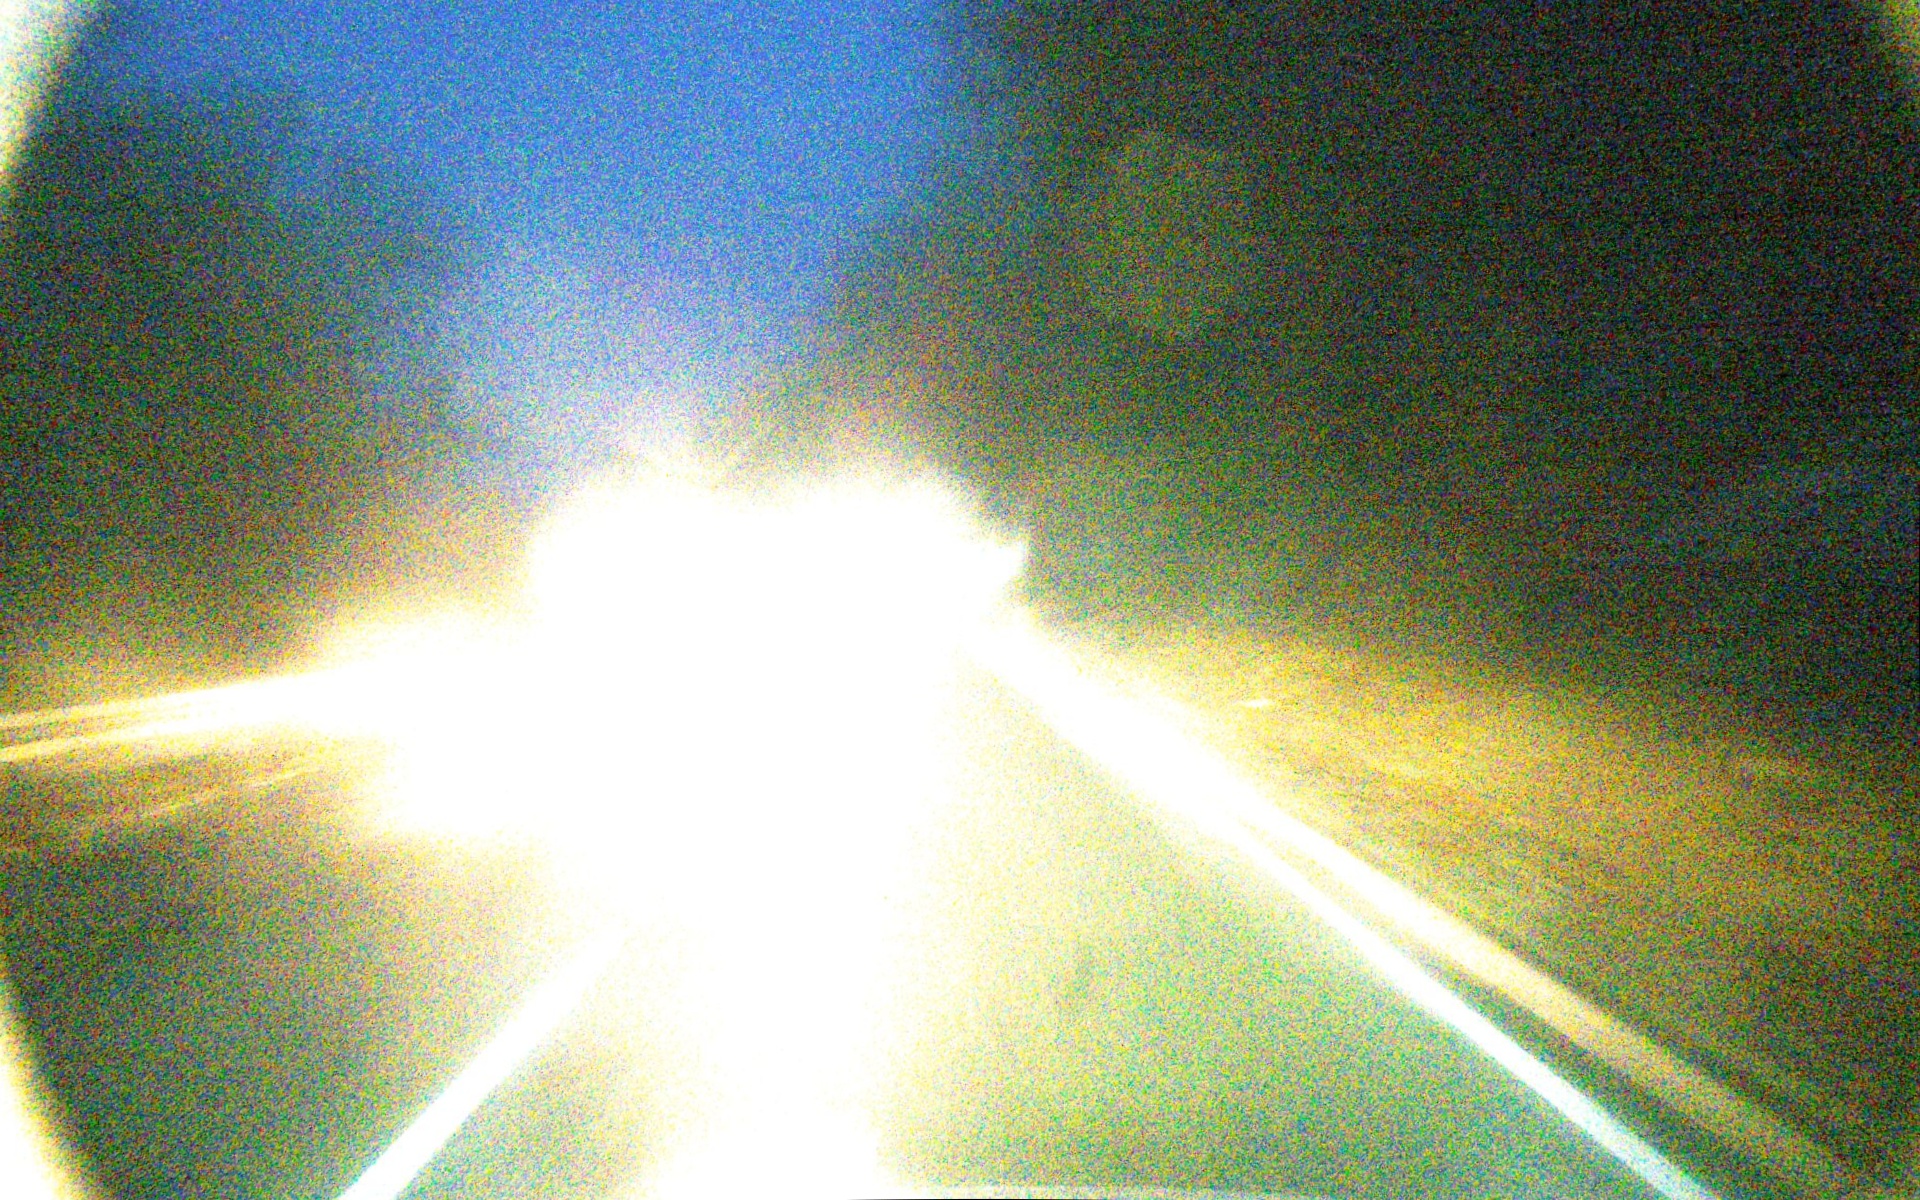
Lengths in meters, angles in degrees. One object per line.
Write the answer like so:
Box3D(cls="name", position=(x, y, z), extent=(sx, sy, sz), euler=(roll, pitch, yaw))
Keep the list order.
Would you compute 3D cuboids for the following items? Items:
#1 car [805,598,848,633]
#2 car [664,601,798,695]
Box3D(cls="car", position=(-6.485, 0.746, 80.671), extent=(1.954, 1.640, 4.096), euler=(-1, 0, -3))
Box3D(cls="car", position=(-3.933, 0.791, 29.045), extent=(1.954, 1.482, 4.096), euler=(-1, 0, -3))
